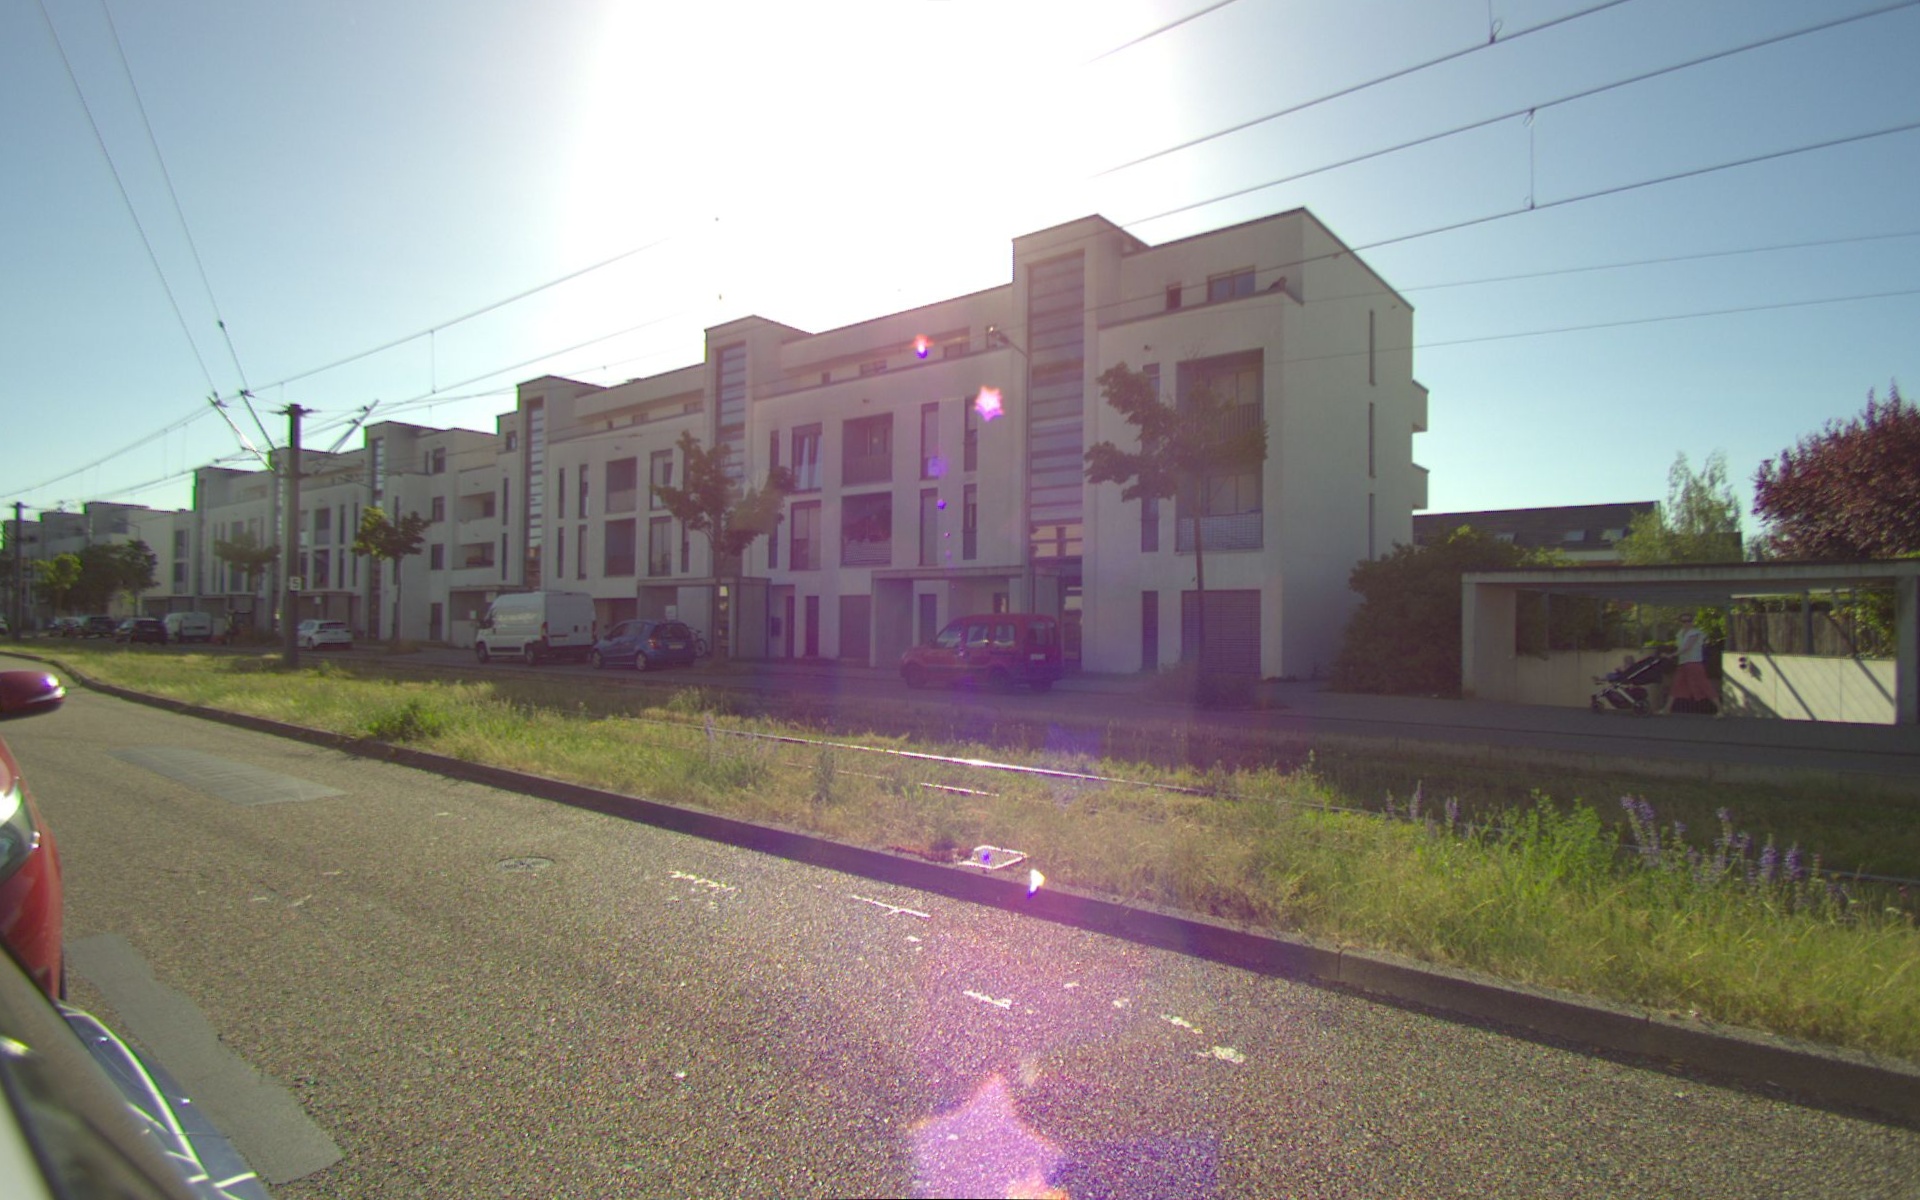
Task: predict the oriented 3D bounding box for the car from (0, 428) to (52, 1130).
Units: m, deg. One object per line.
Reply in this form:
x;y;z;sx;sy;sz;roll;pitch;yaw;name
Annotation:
-5.182;0.547;3.890;5.203;1.948;1.954;-1;0;42;car

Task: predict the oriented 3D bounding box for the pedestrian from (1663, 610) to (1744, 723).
12.028;1.045;16.378;0.806;1.761;0.910;0;-1;-44;pedestrian

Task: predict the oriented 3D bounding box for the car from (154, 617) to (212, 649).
-47.284;2.004;61.594;4.149;1.884;1.745;-1;-1;37;car

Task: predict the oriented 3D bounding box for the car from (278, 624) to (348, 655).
-31.245;1.890;48.852;4.149;1.443;1.503;-1;-1;37;car

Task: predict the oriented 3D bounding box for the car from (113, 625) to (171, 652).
-44.521;2.084;55.075;3.999;1.429;1.769;-1;-4;42;car

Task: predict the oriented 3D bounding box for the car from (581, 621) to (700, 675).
-10.041;1.449;31.673;3.840;1.548;1.805;-1;-1;41;car

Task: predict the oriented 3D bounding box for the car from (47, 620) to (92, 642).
-67.580;2.333;76.768;4.149;1.611;1.745;-1;-1;37;car

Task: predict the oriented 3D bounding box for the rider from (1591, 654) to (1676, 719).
11.365;1.434;17.075;0.769;1.010;1.046;0;-1;-44;rider

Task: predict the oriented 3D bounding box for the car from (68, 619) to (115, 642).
-62.982;2.209;73.340;4.149;1.611;1.745;-1;-1;37;car

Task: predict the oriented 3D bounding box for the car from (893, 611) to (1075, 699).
0.500;1.192;23.011;3.836;1.809;1.861;-1;-1;42;car

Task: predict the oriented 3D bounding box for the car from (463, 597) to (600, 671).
-15.336;1.166;36.051;5.583;2.463;2.119;-1;-1;39;car

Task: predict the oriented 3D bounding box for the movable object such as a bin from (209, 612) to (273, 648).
-40.661;1.704;57.215;4.149;1.952;1.745;-1;-1;37;movable object such as a bin
